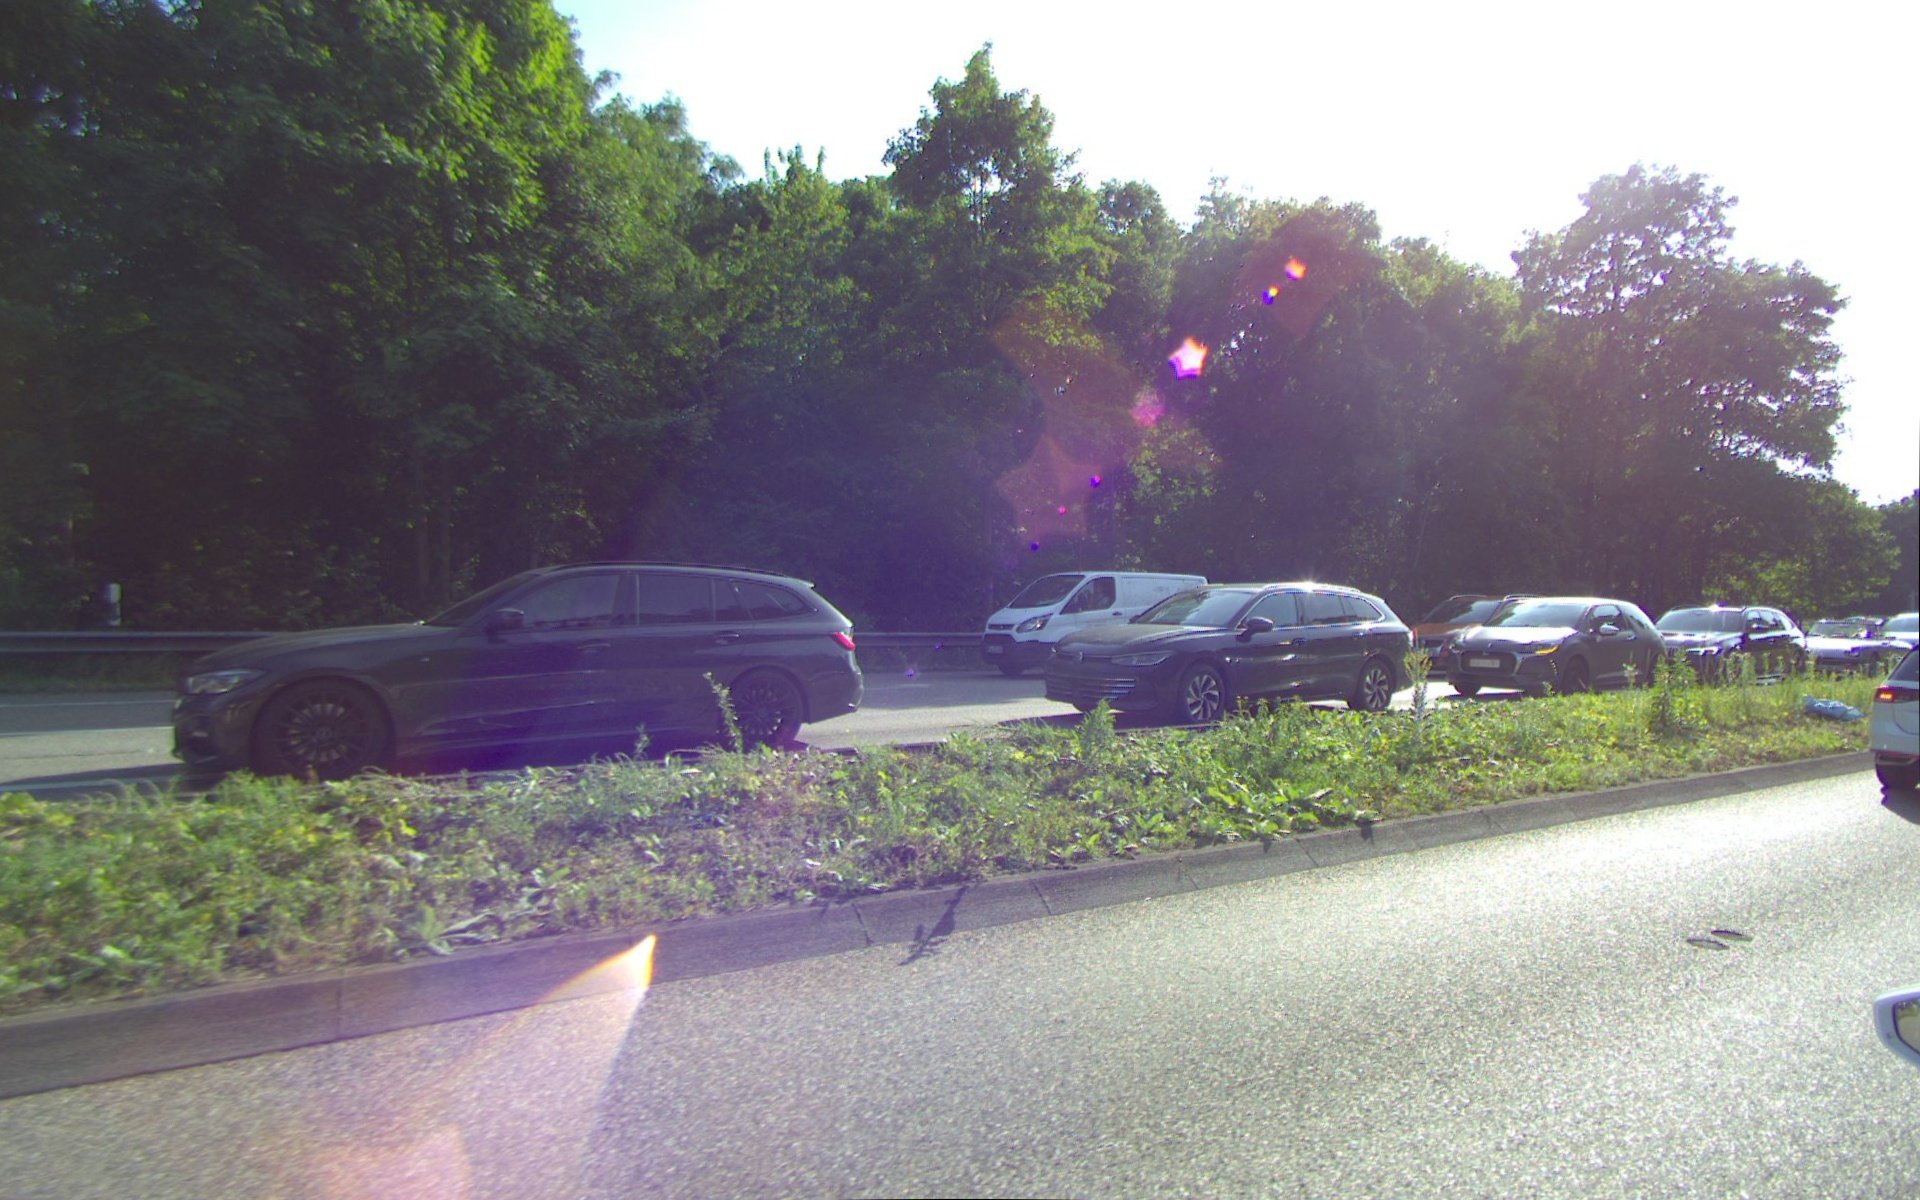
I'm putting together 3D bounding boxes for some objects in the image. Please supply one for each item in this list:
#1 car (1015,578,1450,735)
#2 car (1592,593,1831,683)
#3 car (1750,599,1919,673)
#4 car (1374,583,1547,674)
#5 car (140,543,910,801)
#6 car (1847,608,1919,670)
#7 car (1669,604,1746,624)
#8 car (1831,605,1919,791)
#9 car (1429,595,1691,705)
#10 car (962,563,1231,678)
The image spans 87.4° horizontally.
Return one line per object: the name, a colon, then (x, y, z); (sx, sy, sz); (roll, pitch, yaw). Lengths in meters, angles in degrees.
car: (3.208, 0.546, 11.323); (5.135, 1.442, 1.761); (1, 0, -33)
car: (13.688, 0.636, 18.197); (5.135, 1.442, 1.757); (1, 0, -32)
car: (18.895, 0.720, 21.525); (4.385, 1.436, 1.757); (1, 0, -33)
car: (10.373, 0.594, 20.776); (3.537, 1.728, 1.616); (1, -2, -33)
car: (-2.885, 0.416, 7.487); (4.790, 1.398, 1.761); (1, 0, -33)
car: (24.042, 0.944, 24.990); (4.367, 1.436, 1.857); (1, 0, -33)
car: (67.823, 1.249, 91.204); (2.415, 1.510, 5.037); (1, 2, -26)
car: (10.294, 0.867, 9.392); (4.779, 1.542, 1.860); (1, 1, -31)
car: (9.039, 0.677, 15.054); (4.165, 1.442, 1.697); (1, 0, -33)
car: (2.697, 0.412, 19.347); (5.046, 1.961, 2.001); (1, -3, -33)
